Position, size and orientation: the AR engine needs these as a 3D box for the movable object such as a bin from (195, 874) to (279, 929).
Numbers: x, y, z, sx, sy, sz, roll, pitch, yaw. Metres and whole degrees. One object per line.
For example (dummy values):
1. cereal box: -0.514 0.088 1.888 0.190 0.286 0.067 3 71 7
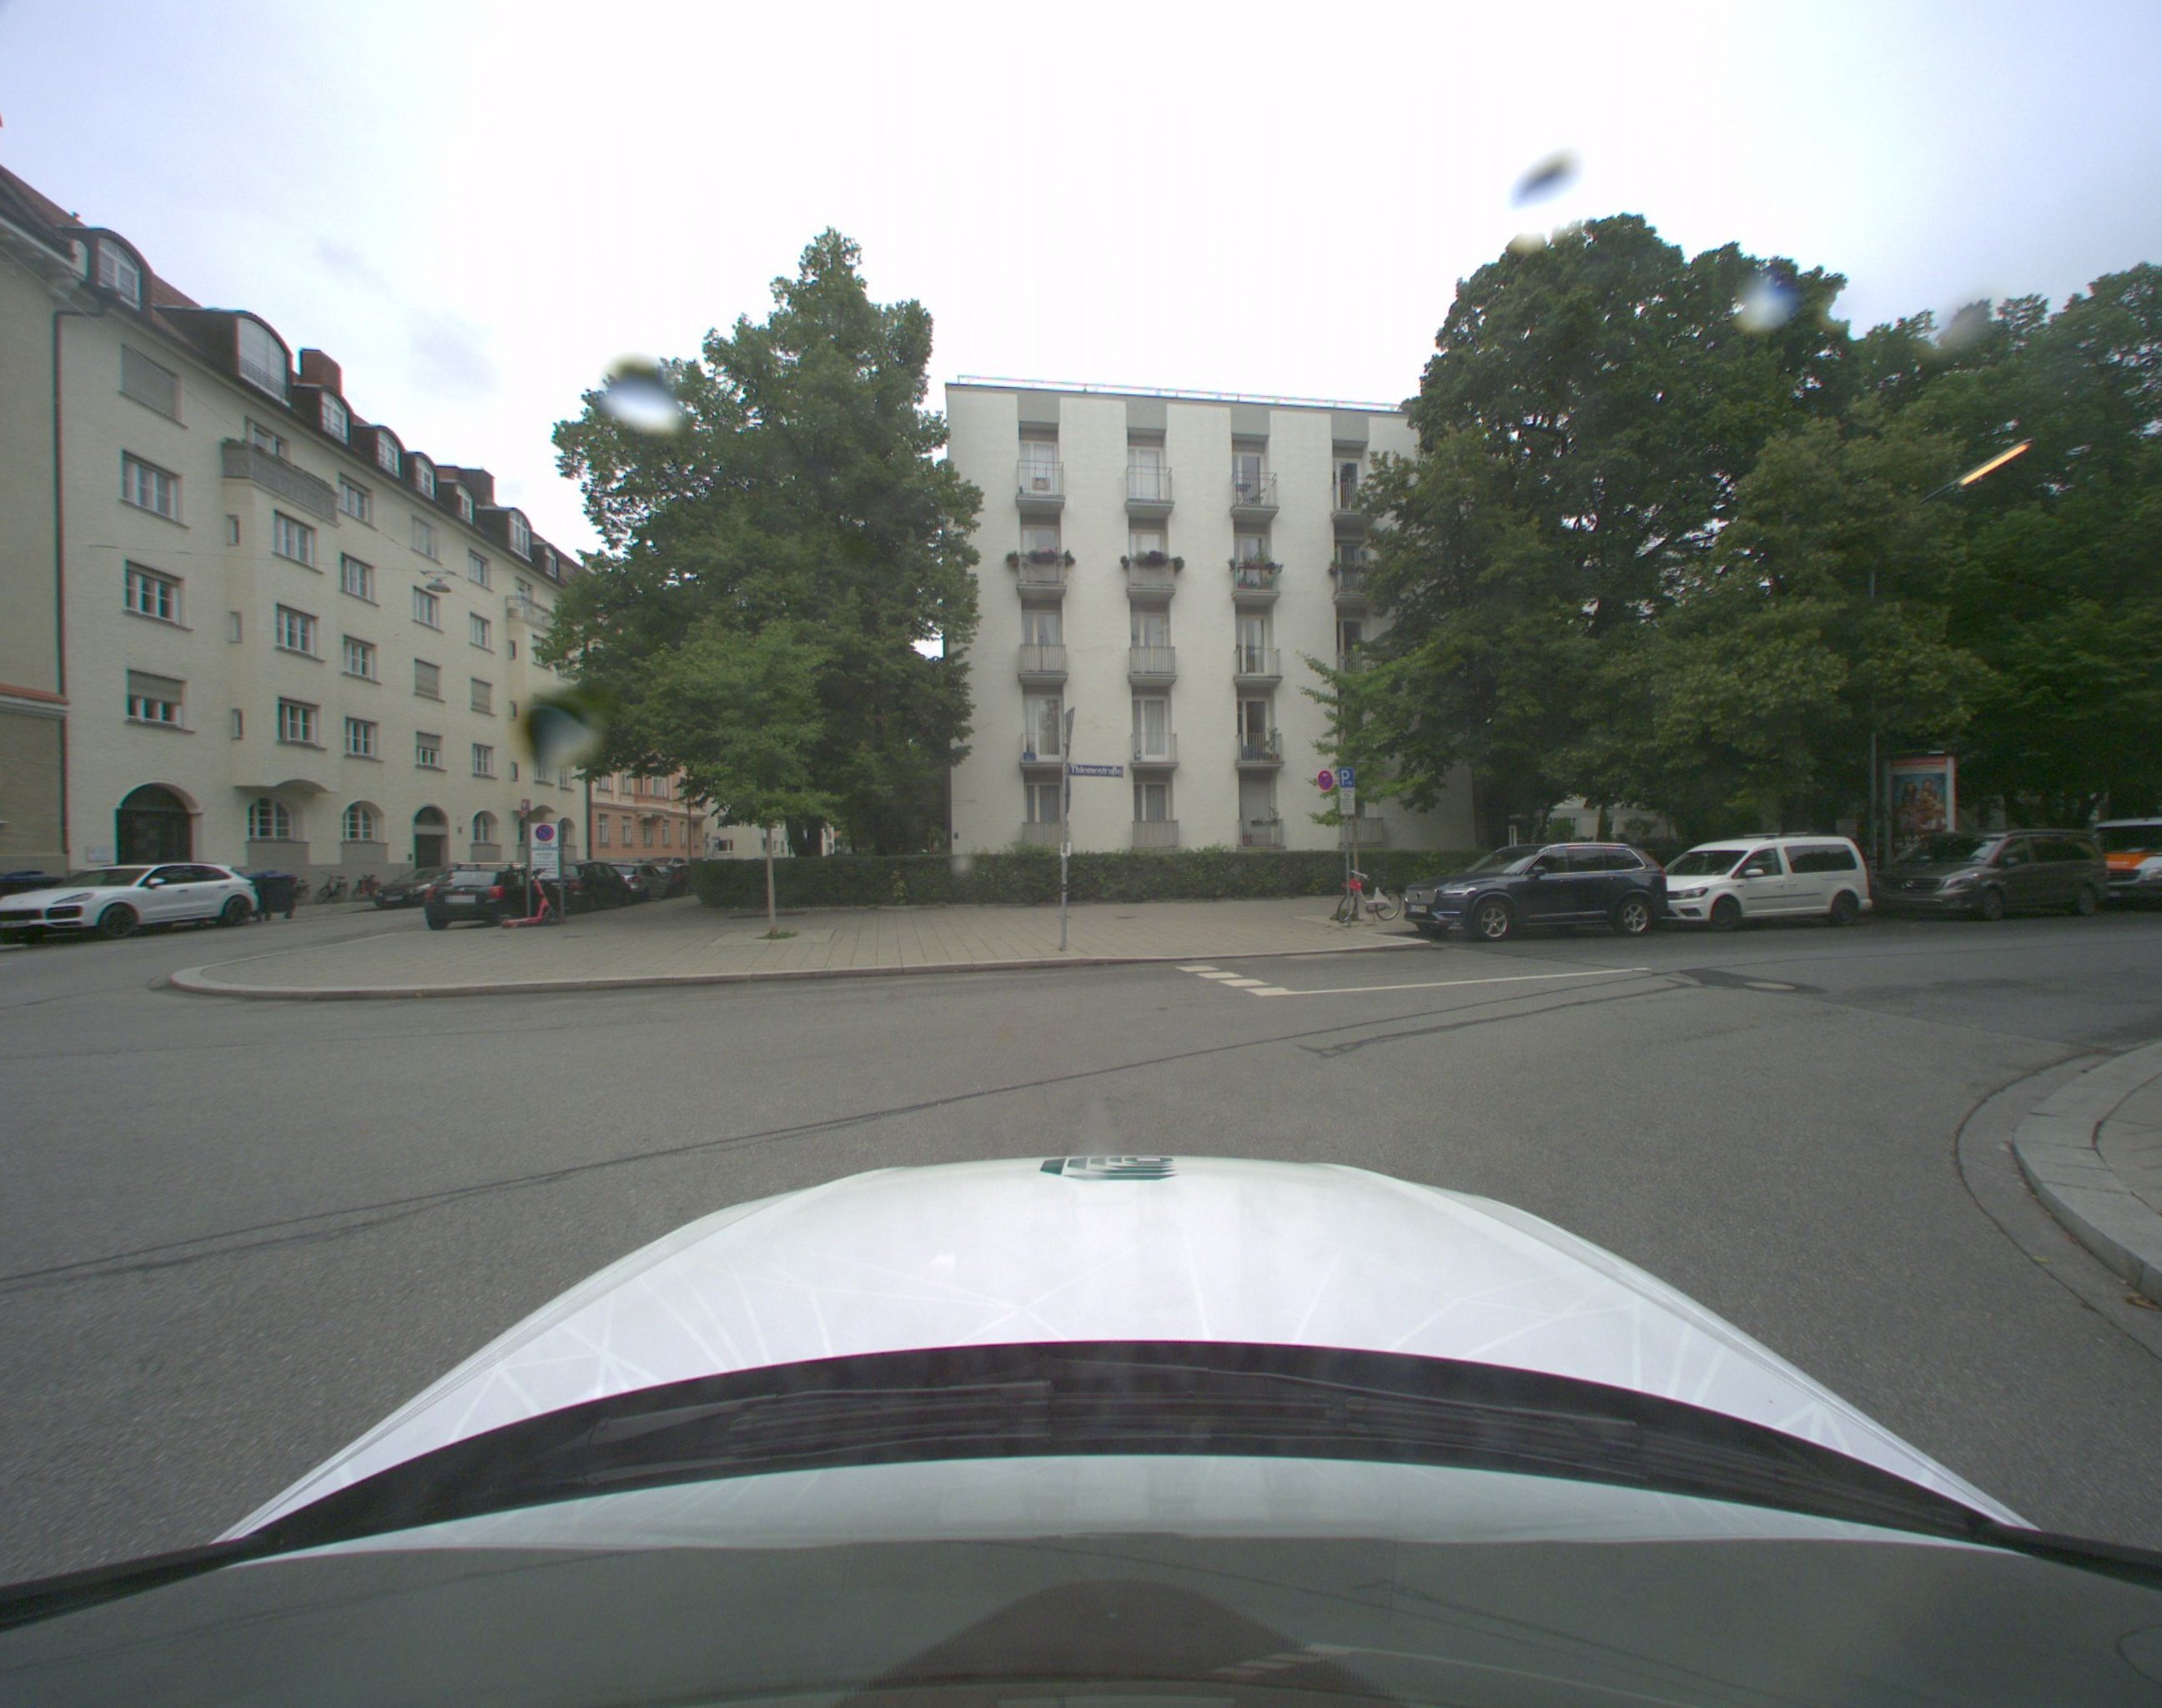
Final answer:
1. movable object such as a bin: -23.319 1.282 22.530 1.089 1.425 1.171 -1 0 -6

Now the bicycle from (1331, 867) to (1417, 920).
1. bicycle: 6.286 0.835 17.459 1.830 1.049 0.489 -1 0 -19

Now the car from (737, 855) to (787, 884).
1. car: -19.916 0.923 50.976 1.833 1.634 4.106 -2 0 -6

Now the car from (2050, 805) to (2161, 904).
1. car: 27.125 -0.016 20.171 5.234 2.273 1.943 -1 -1 -15

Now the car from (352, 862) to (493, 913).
1. car: -23.828 1.135 29.731 1.976 1.616 4.695 -1 0 -11

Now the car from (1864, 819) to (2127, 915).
1. car: 20.428 0.251 18.211 5.203 1.933 1.883 -1 -1 -17

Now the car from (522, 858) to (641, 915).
1. car: -15.381 0.938 25.361 1.795 1.505 4.216 -2 0 -12

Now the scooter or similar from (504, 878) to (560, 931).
1. scooter or similar: -11.985 1.092 17.790 1.006 1.088 0.386 -1 0 -35

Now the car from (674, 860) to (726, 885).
1. car: -27.066 1.283 58.045 1.973 1.581 4.399 -1 0 -6

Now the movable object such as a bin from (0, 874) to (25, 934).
1. movable object such as a bin: -26.228 1.212 19.188 1.089 1.425 1.171 -1 0 -6

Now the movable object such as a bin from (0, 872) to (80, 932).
1. movable object such as a bin: -26.339 1.193 20.378 1.089 1.425 1.171 -1 0 -6

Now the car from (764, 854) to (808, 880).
1. car: -20.438 0.895 56.610 1.832 1.634 3.813 -2 0 -5

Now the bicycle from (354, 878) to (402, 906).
1. bicycle: -28.540 1.519 33.085 0.562 1.049 1.825 -1 0 -8

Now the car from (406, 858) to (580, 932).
1. car: -14.342 0.914 20.221 1.820 1.505 4.403 -2 0 -12

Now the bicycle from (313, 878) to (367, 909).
1. bicycle: -28.265 1.493 31.090 0.562 1.049 1.825 -1 0 -8

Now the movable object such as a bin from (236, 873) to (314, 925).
1. movable object such as a bin: -23.443 1.289 23.713 1.089 1.425 1.171 -1 0 -6

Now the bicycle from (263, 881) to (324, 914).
1. bicycle: -28.002 1.533 28.997 0.562 1.049 1.825 -1 0 -8

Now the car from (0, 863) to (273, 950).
1. car: -22.331 1.115 19.301 1.974 1.700 4.827 -1 0 -8

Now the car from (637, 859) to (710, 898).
1. car: -17.652 1.003 35.455 1.795 1.505 4.098 -2 0 -12

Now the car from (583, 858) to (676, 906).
1. car: -16.412 0.966 29.817 1.795 1.505 4.098 -2 0 -12

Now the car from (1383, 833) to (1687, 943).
1. car: 8.453 0.578 15.318 4.901 1.792 1.991 -1 -1 -12

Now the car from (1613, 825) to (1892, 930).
1. car: 13.635 0.433 16.610 4.838 1.918 1.827 -1 -1 -13
